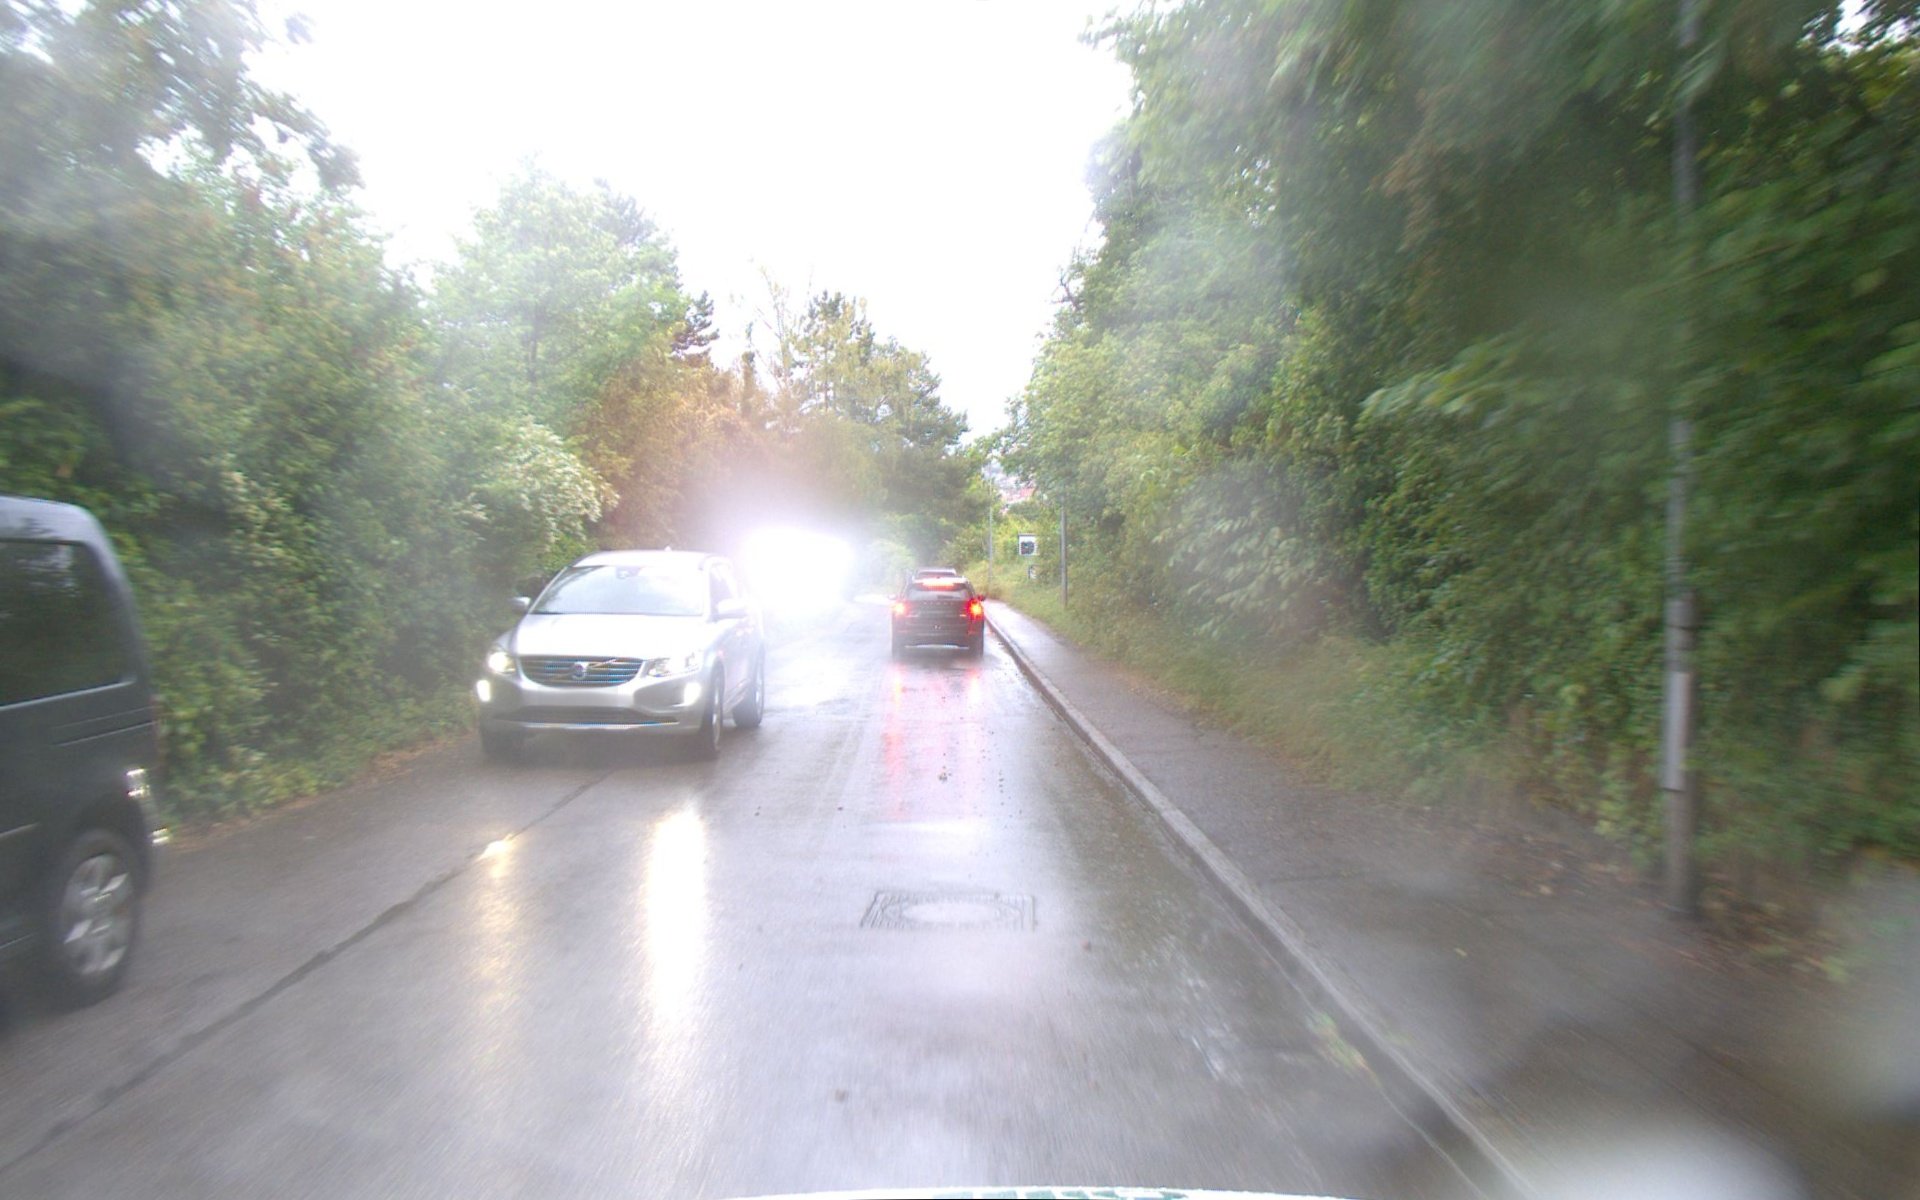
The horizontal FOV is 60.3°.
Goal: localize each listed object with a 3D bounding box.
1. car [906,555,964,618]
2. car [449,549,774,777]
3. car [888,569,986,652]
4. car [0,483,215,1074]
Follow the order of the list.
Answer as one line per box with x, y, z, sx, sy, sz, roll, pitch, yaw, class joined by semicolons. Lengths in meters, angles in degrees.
-0.845;-0.392;54.255;1.825;1.774;3.997;1;-3;-2;car
-2.841;0.410;14.458;2.007;1.628;4.228;2;2;-2;car
-0.503;0.160;31.881;1.666;1.475;3.997;0;1;-4;car
-3.777;0.568;4.405;1.655;1.814;4.232;-1;1;0;car
